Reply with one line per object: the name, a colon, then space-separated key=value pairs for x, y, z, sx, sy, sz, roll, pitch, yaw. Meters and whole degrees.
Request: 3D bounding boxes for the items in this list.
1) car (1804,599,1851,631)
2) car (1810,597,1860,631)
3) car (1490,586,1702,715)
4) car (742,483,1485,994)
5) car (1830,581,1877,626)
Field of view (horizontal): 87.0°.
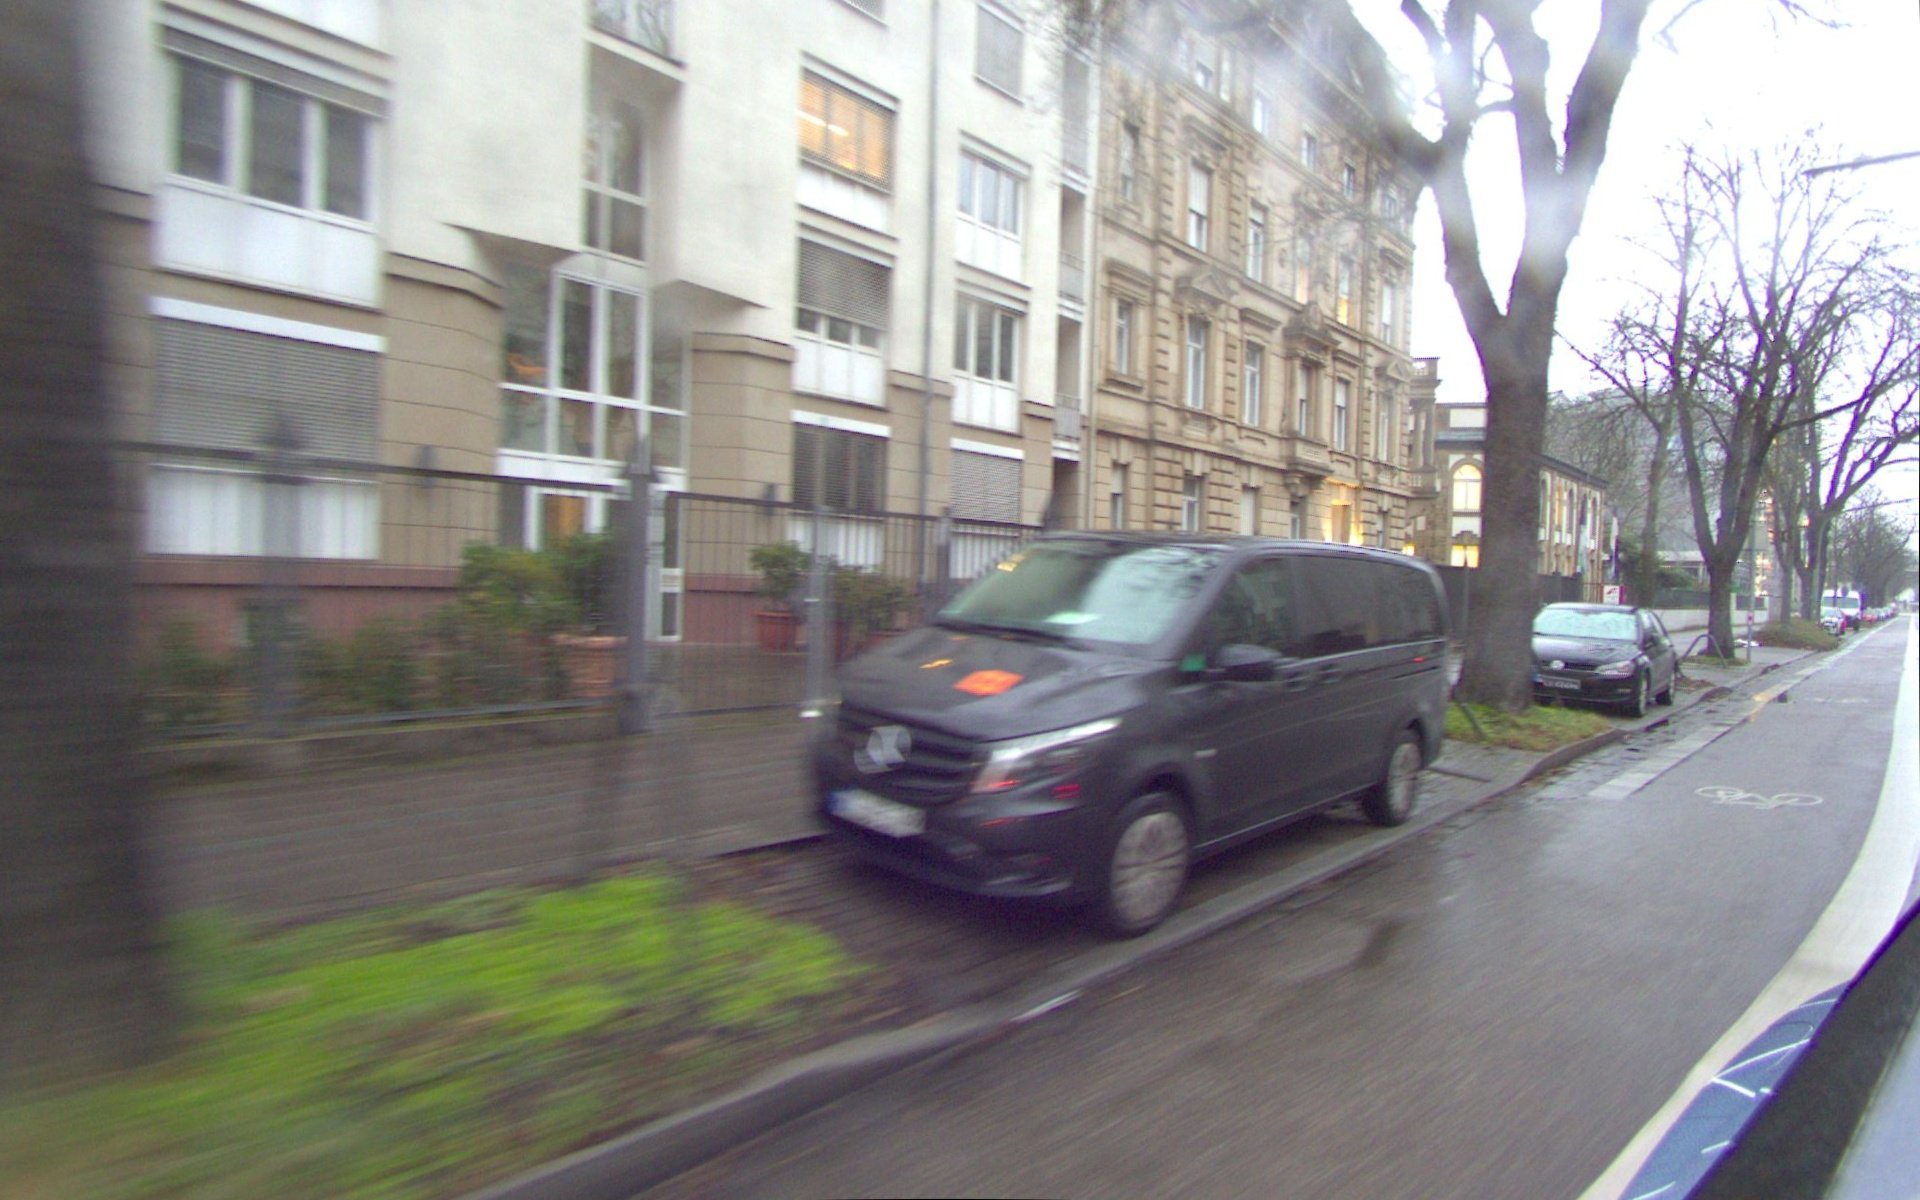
car: x=41.542 y=0.686 z=48.470 sx=1.622 sy=1.425 sz=3.941 roll=1 pitch=1 yaw=41
car: x=48.342 y=0.746 z=55.935 sx=1.992 sy=1.702 sz=3.941 roll=1 pitch=1 yaw=41
car: x=9.130 y=0.622 z=14.373 sx=1.758 sy=1.463 sz=4.093 roll=5 pitch=3 yaw=43
car: x=1.320 y=0.476 z=6.223 sx=2.032 sy=1.899 sz=4.884 roll=3 pitch=2 yaw=44
car: x=55.343 y=0.154 z=62.735 sx=2.085 sy=2.670 sz=5.369 roll=1 pitch=1 yaw=41
